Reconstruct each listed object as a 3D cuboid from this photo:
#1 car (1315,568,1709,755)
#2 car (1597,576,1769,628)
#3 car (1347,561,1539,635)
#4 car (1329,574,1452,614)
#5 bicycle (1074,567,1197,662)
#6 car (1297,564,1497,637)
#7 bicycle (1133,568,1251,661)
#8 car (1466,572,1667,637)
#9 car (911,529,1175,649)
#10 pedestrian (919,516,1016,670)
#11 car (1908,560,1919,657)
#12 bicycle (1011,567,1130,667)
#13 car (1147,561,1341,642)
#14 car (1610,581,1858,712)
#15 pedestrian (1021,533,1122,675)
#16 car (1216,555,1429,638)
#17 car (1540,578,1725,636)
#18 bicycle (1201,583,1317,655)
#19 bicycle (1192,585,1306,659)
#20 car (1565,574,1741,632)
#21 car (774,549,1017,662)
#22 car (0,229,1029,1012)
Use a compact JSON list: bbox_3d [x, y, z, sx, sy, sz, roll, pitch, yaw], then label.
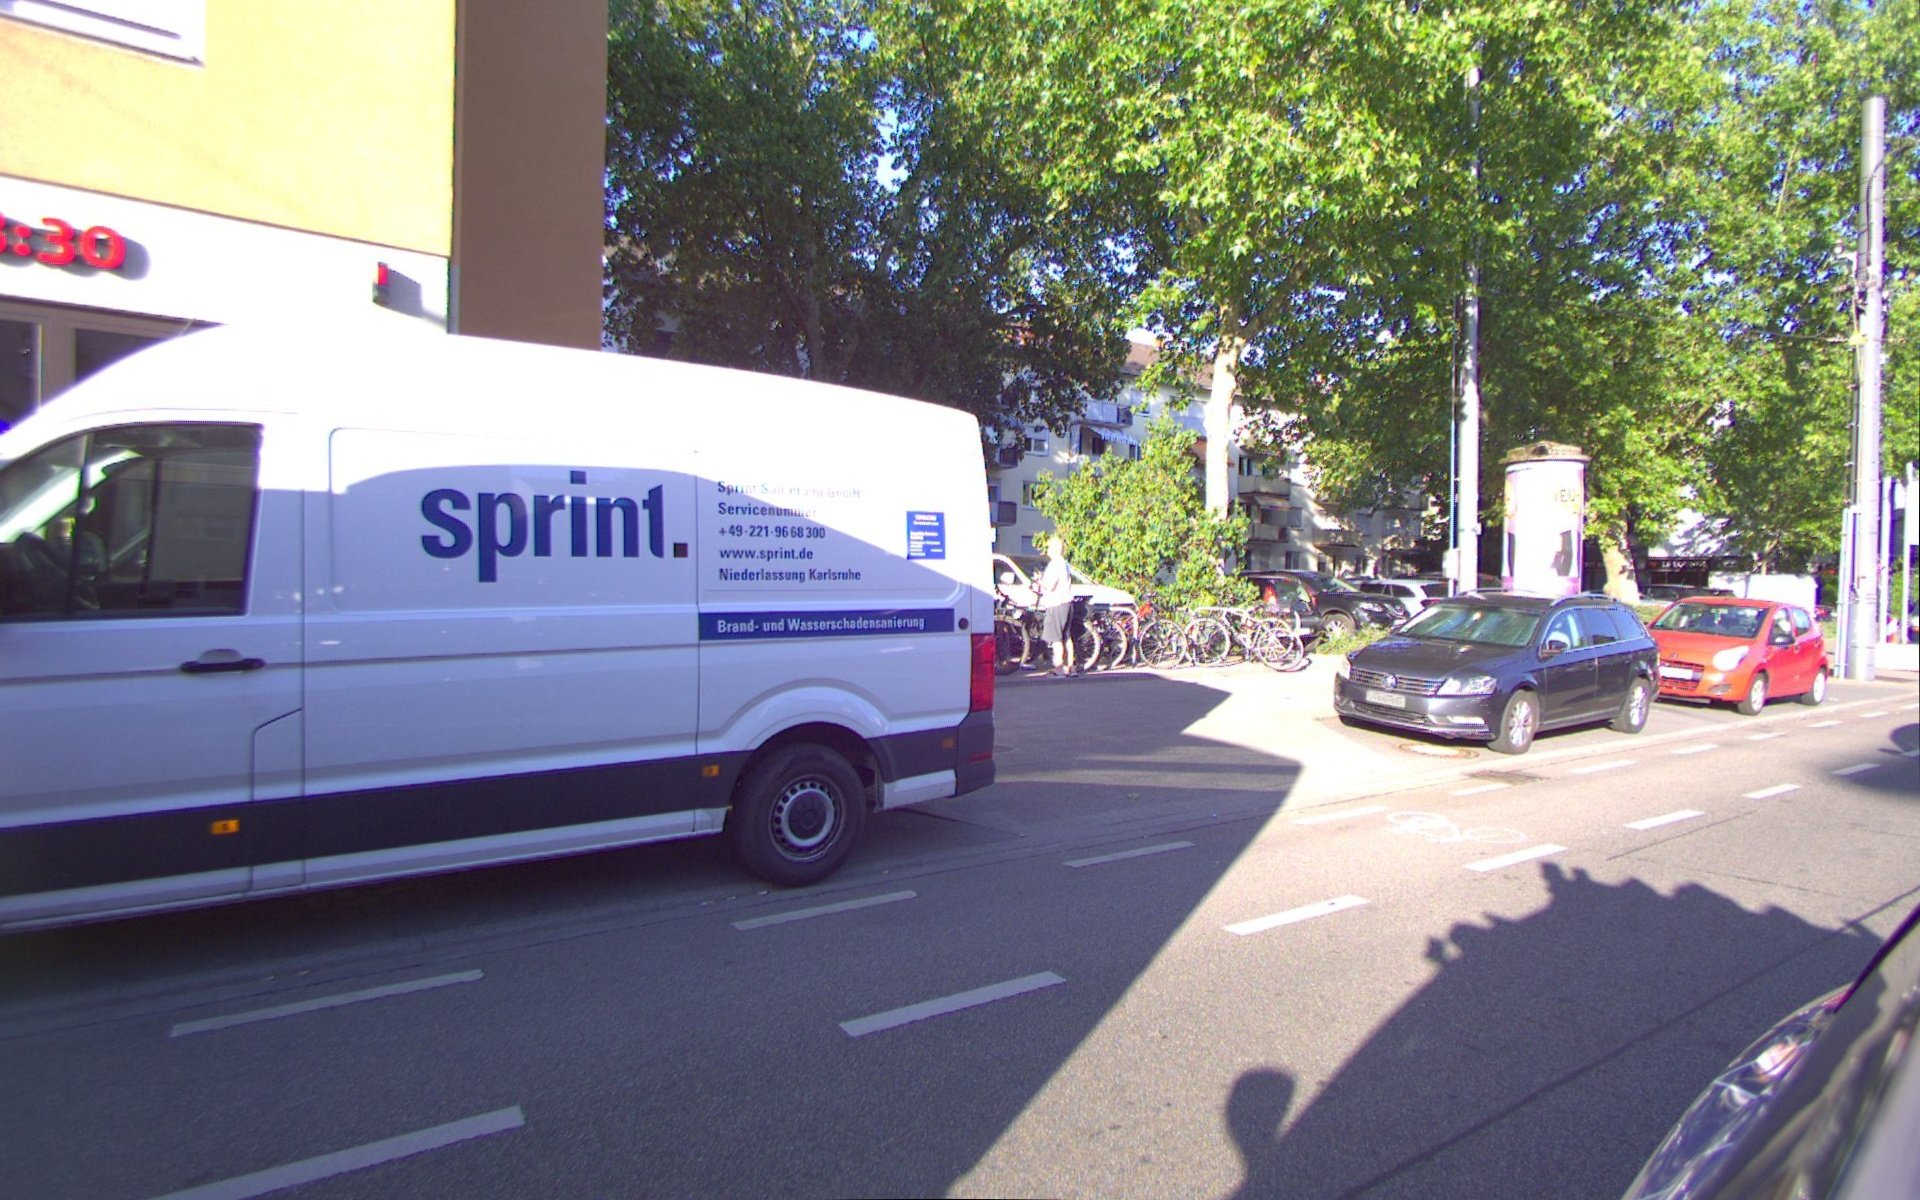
[{"bbox_3d":[5.995,0.518,10.806,4.562,1.549,1.704,0,4,-34],"label":"car"},{"bbox_3d":[23.195,0.073,32.613,1.767,1.570,4.127,0,-1,-32],"label":"car"},{"bbox_3d":[11.613,-0.035,24.573,1.820,1.652,3.855,0,0,-32],"label":"car"},{"bbox_3d":[17.715,-0.283,41.820,1.963,1.514,4.294,0,2,-37],"label":"car"},{"bbox_3d":[2.395,0.194,13.763,1.562,1.242,0.647,-1,0,19],"label":"bicycle"},{"bbox_3d":[9.895,0.058,23.185,1.820,1.514,3.854,0,-1,-32],"label":"car"},{"bbox_3d":[3.252,0.183,14.299,1.557,1.242,0.646,1,1,10],"label":"bicycle"},{"bbox_3d":[15.685,0.055,26.368,1.767,1.513,4.129,0,2,-32],"label":"car"},{"bbox_3d":[1.222,-0.121,17.069,1.962,1.731,4.633,0,-1,-34],"label":"car"},{"bbox_3d":[0.087,-0.094,12.248,0.753,1.772,0.810,2,4,-33],"label":"pedestrian"},{"bbox_3d":[23.230,0.202,22.671,4.474,2.104,1.892,0,1,-34],"label":"car"},{"bbox_3d":[1.455,0.207,13.329,1.500,1.242,0.401,2,1,17],"label":"bicycle"},{"bbox_3d":[5.680,0.066,20.585,1.740,1.502,3.508,0,-1,-34],"label":"car"},{"bbox_3d":[10.715,0.553,13.965,3.556,1.512,1.576,0,4,-34],"label":"car"},{"bbox_3d":[1.381,0.037,12.521,0.973,1.656,0.661,1,4,-41],"label":"pedestrian"},{"bbox_3d":[7.702,-0.028,21.840,1.821,1.621,4.034,0,-1,-34],"label":"car"},{"bbox_3d":[19.601,0.145,29.662,1.767,1.513,4.129,0,2,-32],"label":"car"},{"bbox_3d":[4.612,0.269,15.633,1.658,1.026,0.647,2,1,19],"label":"bicycle"},{"bbox_3d":[4.281,0.304,14.991,1.562,1.026,0.647,2,1,19],"label":"bicycle"},{"bbox_3d":[21.330,0.049,31.307,1.767,1.619,4.129,0,2,-32],"label":"car"},{"bbox_3d":[-1.132,-0.021,15.628,1.962,1.449,4.029,-3,4,-34],"label":"car"},{"bbox_3d":[-2.588,0.004,4.917,5.673,2.581,2.026,0,5,-34],"label":"car"}]
